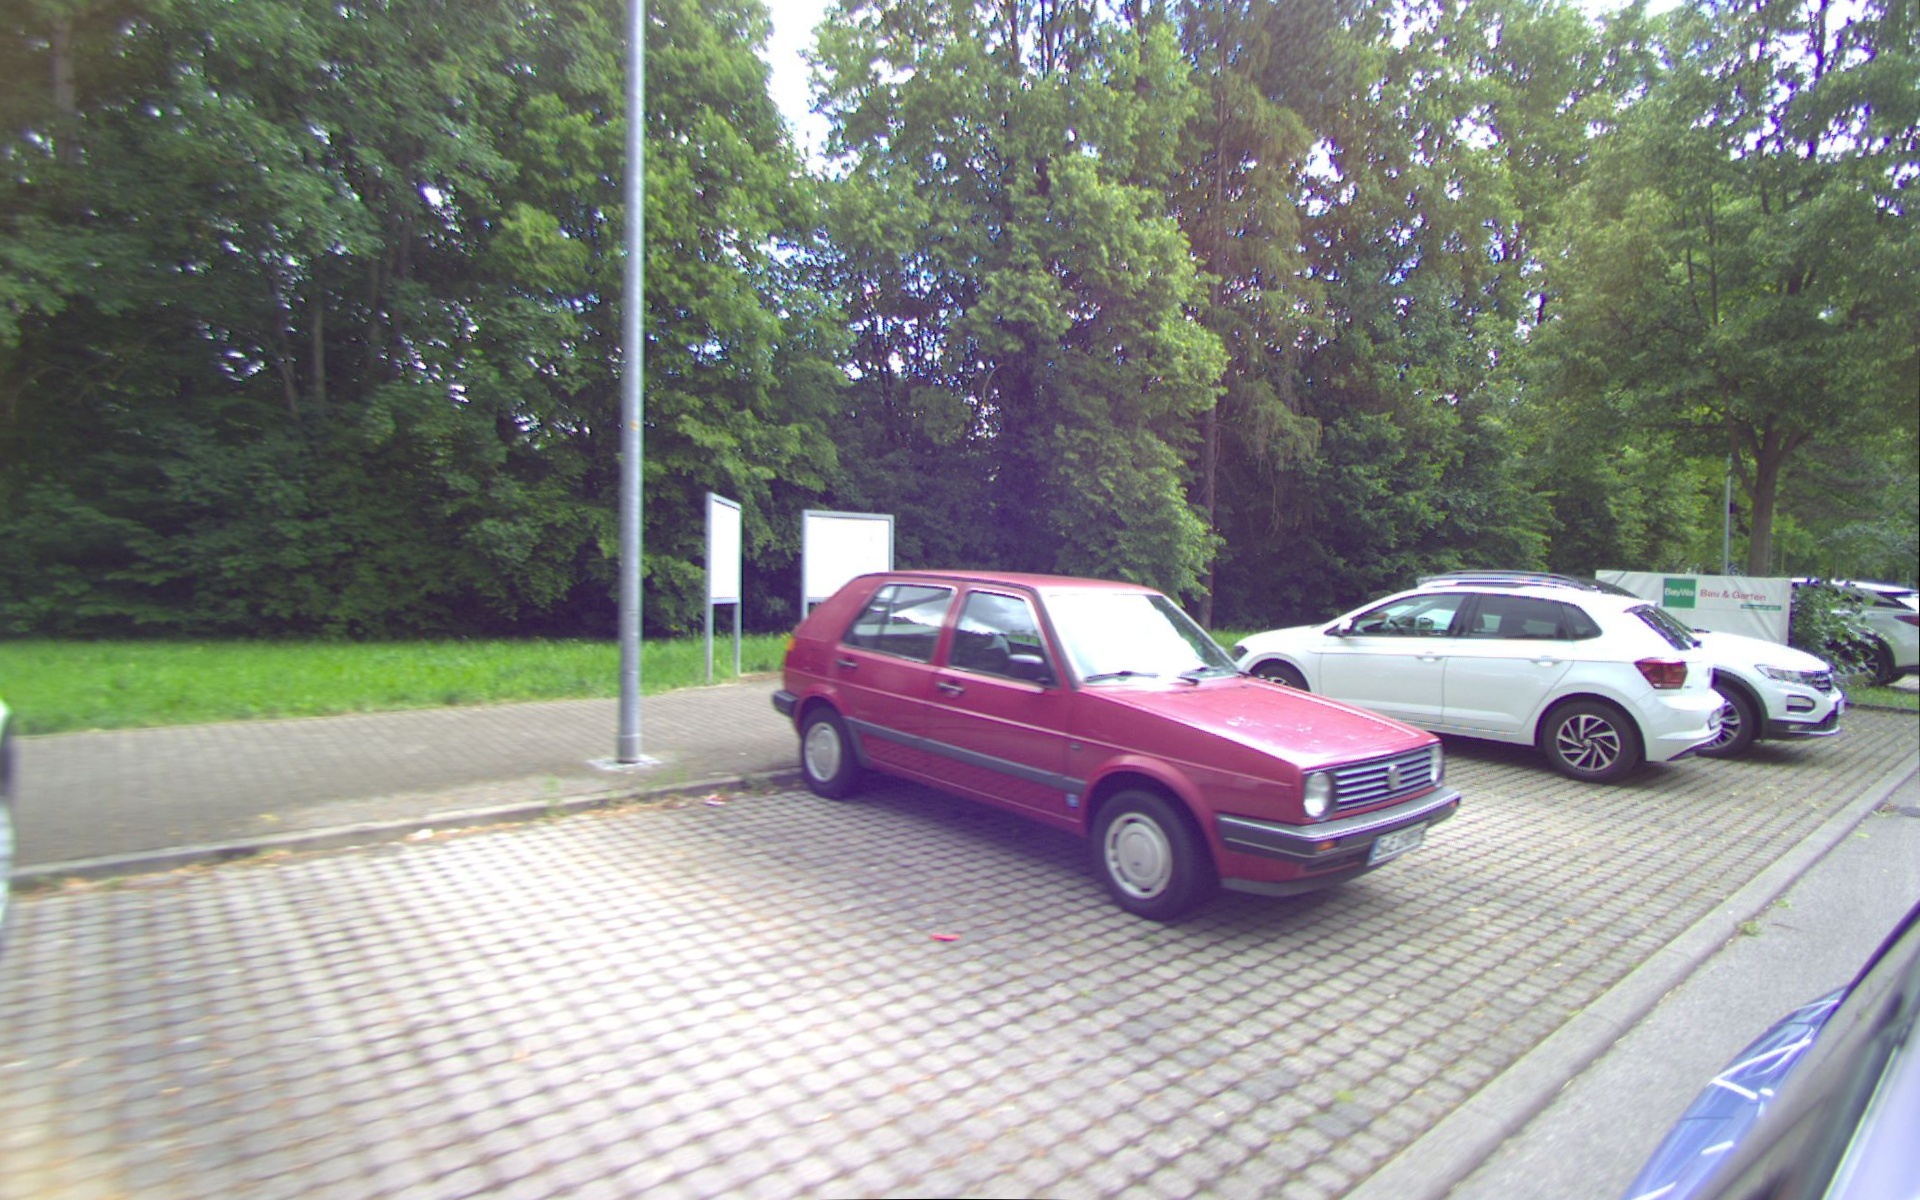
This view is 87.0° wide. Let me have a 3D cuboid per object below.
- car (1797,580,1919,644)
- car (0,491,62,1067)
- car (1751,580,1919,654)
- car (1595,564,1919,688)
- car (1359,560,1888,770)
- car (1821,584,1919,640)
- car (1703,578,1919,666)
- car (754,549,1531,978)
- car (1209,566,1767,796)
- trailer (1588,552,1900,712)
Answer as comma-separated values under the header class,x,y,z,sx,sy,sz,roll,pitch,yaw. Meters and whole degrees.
class,x,y,z,sx,sy,sz,roll,pitch,yaw
car,25.195,0.324,27.013,1.755,1.589,4.142,0,2,-42
car,-3.059,0.505,1.829,1.846,1.534,3.852,0,3,-37
car,21.483,0.372,23.942,1.756,1.589,4.162,0,3,-44
car,13.928,0.333,17.260,1.937,1.713,4.834,0,3,-37
car,6.476,0.449,10.243,1.829,1.566,4.119,-1,4,-43
car,27.199,0.352,28.631,1.755,1.482,4.093,0,2,-42
car,18.043,0.393,20.747,1.817,1.589,4.170,0,2,-38
car,0.657,0.497,5.701,1.785,1.439,4.062,0,4,-41
car,4.456,0.496,8.961,4.011,1.439,1.763,5,4,45
trailer,10.388,0.312,13.532,1.537,1.812,3.034,0,4,-43
